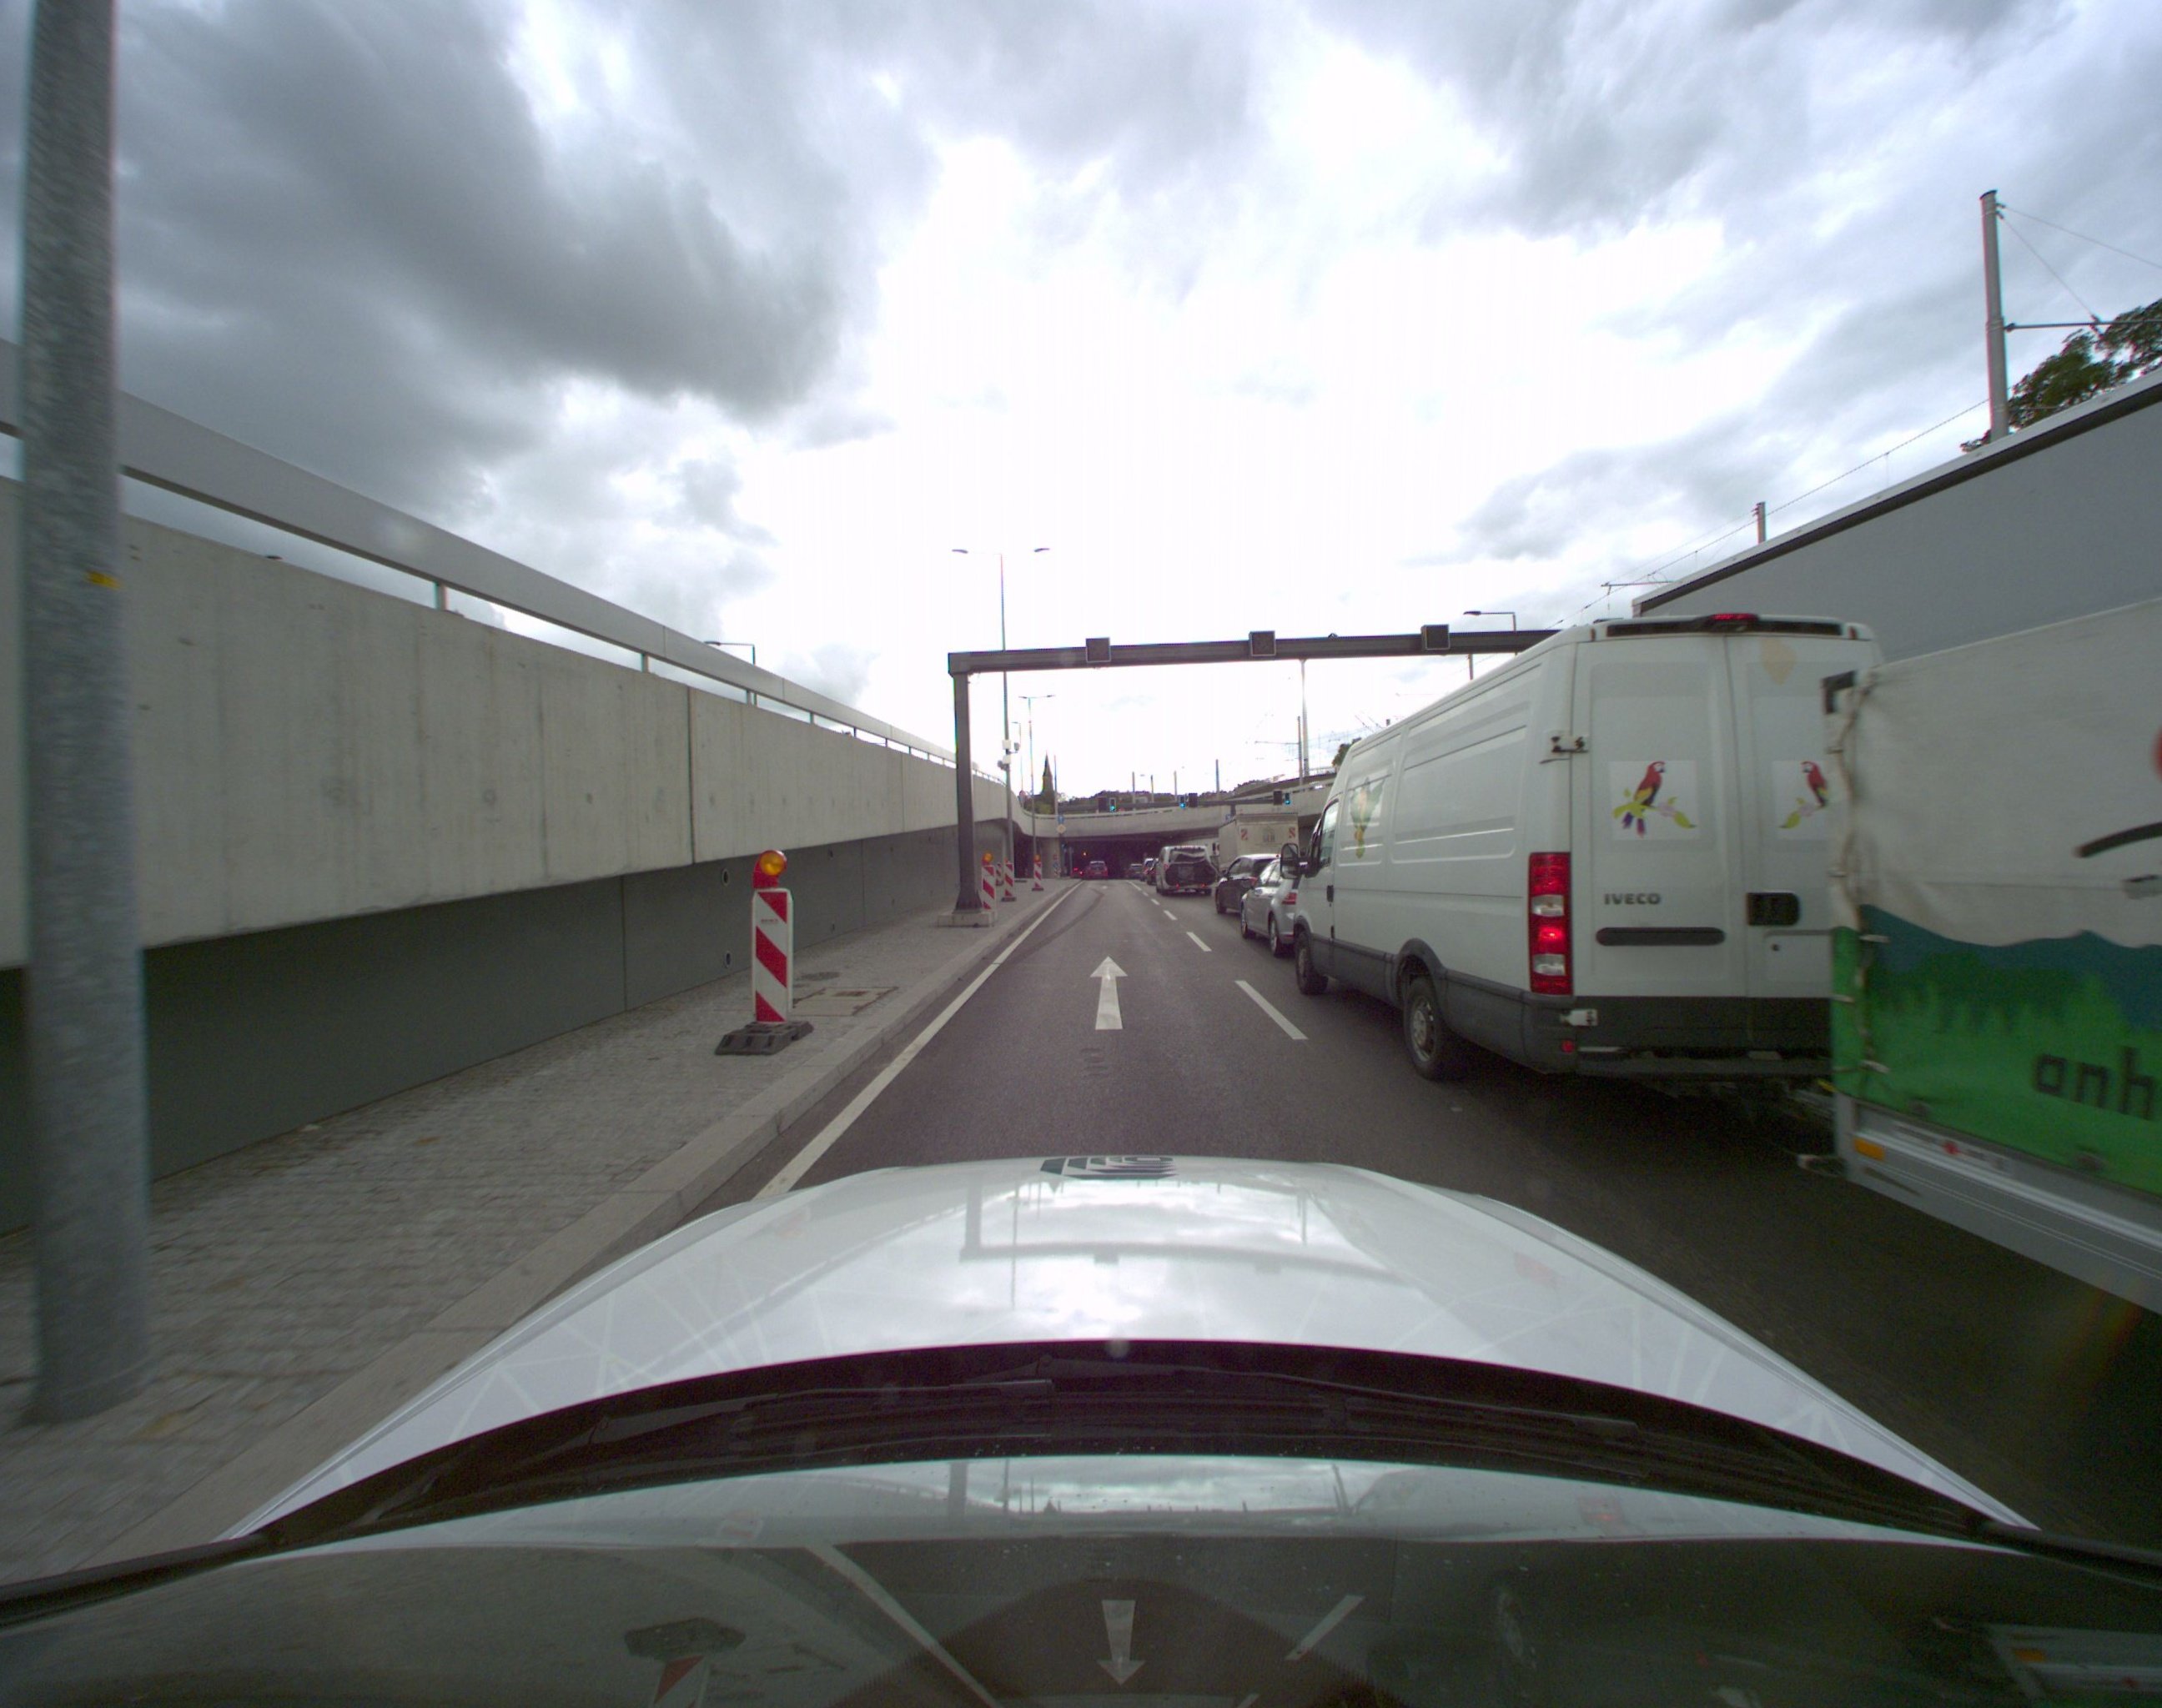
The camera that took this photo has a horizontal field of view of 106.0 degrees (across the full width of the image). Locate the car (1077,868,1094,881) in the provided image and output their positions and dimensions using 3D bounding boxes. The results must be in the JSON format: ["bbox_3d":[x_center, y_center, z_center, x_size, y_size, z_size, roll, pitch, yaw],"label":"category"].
[{"bbox_3d":[0.471,2.177,85.979,1.506,1.247,3.560,-1,-2,-5],"label":"car"}]

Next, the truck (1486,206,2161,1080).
[{"bbox_3d":[7.653,-1.121,8.015,3.791,4.631,7.444,0,0,1],"label":"truck"}]

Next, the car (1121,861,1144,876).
[{"bbox_3d":[4.597,1.306,73.255,1.659,1.247,3.563,-1,-2,-2],"label":"car"}]

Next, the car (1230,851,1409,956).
[{"bbox_3d":[3.629,0.709,13.146,1.757,1.383,4.039,-2,-1,1],"label":"car"}]

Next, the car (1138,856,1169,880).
[{"bbox_3d":[5.017,0.966,56.799,1.812,1.580,4.000,2,-1,0],"label":"car"}]

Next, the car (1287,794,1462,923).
[{"bbox_3d":[7.334,0.099,21.453,2.068,2.773,7.328,-1,0,1],"label":"car"}]

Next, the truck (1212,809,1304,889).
[{"bbox_3d":[7.870,-0.147,37.148,2.640,3.185,7.427,-2,-1,1],"label":"truck"}]

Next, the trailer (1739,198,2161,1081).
[{"bbox_3d":[7.477,-1.130,1.013,3.791,4.631,12.117,0,0,1],"label":"trailer"}]

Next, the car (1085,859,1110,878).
[{"bbox_3d":[1.306,1.199,66.571,1.657,1.488,3.560,-1,-2,-5],"label":"car"}]

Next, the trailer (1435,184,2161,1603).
[{"bbox_3d":[3.099,0.083,2.448,2.095,2.639,4.812,-1,-1,2],"label":"trailer"}]

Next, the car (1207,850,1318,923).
[{"bbox_3d":[4.117,0.670,19.020,1.677,1.545,3.690,0,0,-2],"label":"car"}]

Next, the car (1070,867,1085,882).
[{"bbox_3d":[-0.531,2.858,116.208,1.986,2.013,4.001,-1,0,1],"label":"car"}]

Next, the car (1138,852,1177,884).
[{"bbox_3d":[4.219,0.760,45.486,1.813,1.684,3.999,0,0,0],"label":"car"}]

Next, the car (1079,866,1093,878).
[{"bbox_3d":[0.745,2.860,129.329,1.989,1.773,3.996,-1,0,-3],"label":"car"}]

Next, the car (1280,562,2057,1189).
[{"bbox_3d":[3.263,0.116,6.488,2.050,2.628,5.945,2,-1,2],"label":"car"}]

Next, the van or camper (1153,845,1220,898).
[{"bbox_3d":[3.942,0.699,31.310,1.986,1.845,5.509,0,-2,2],"label":"van or camper"}]
